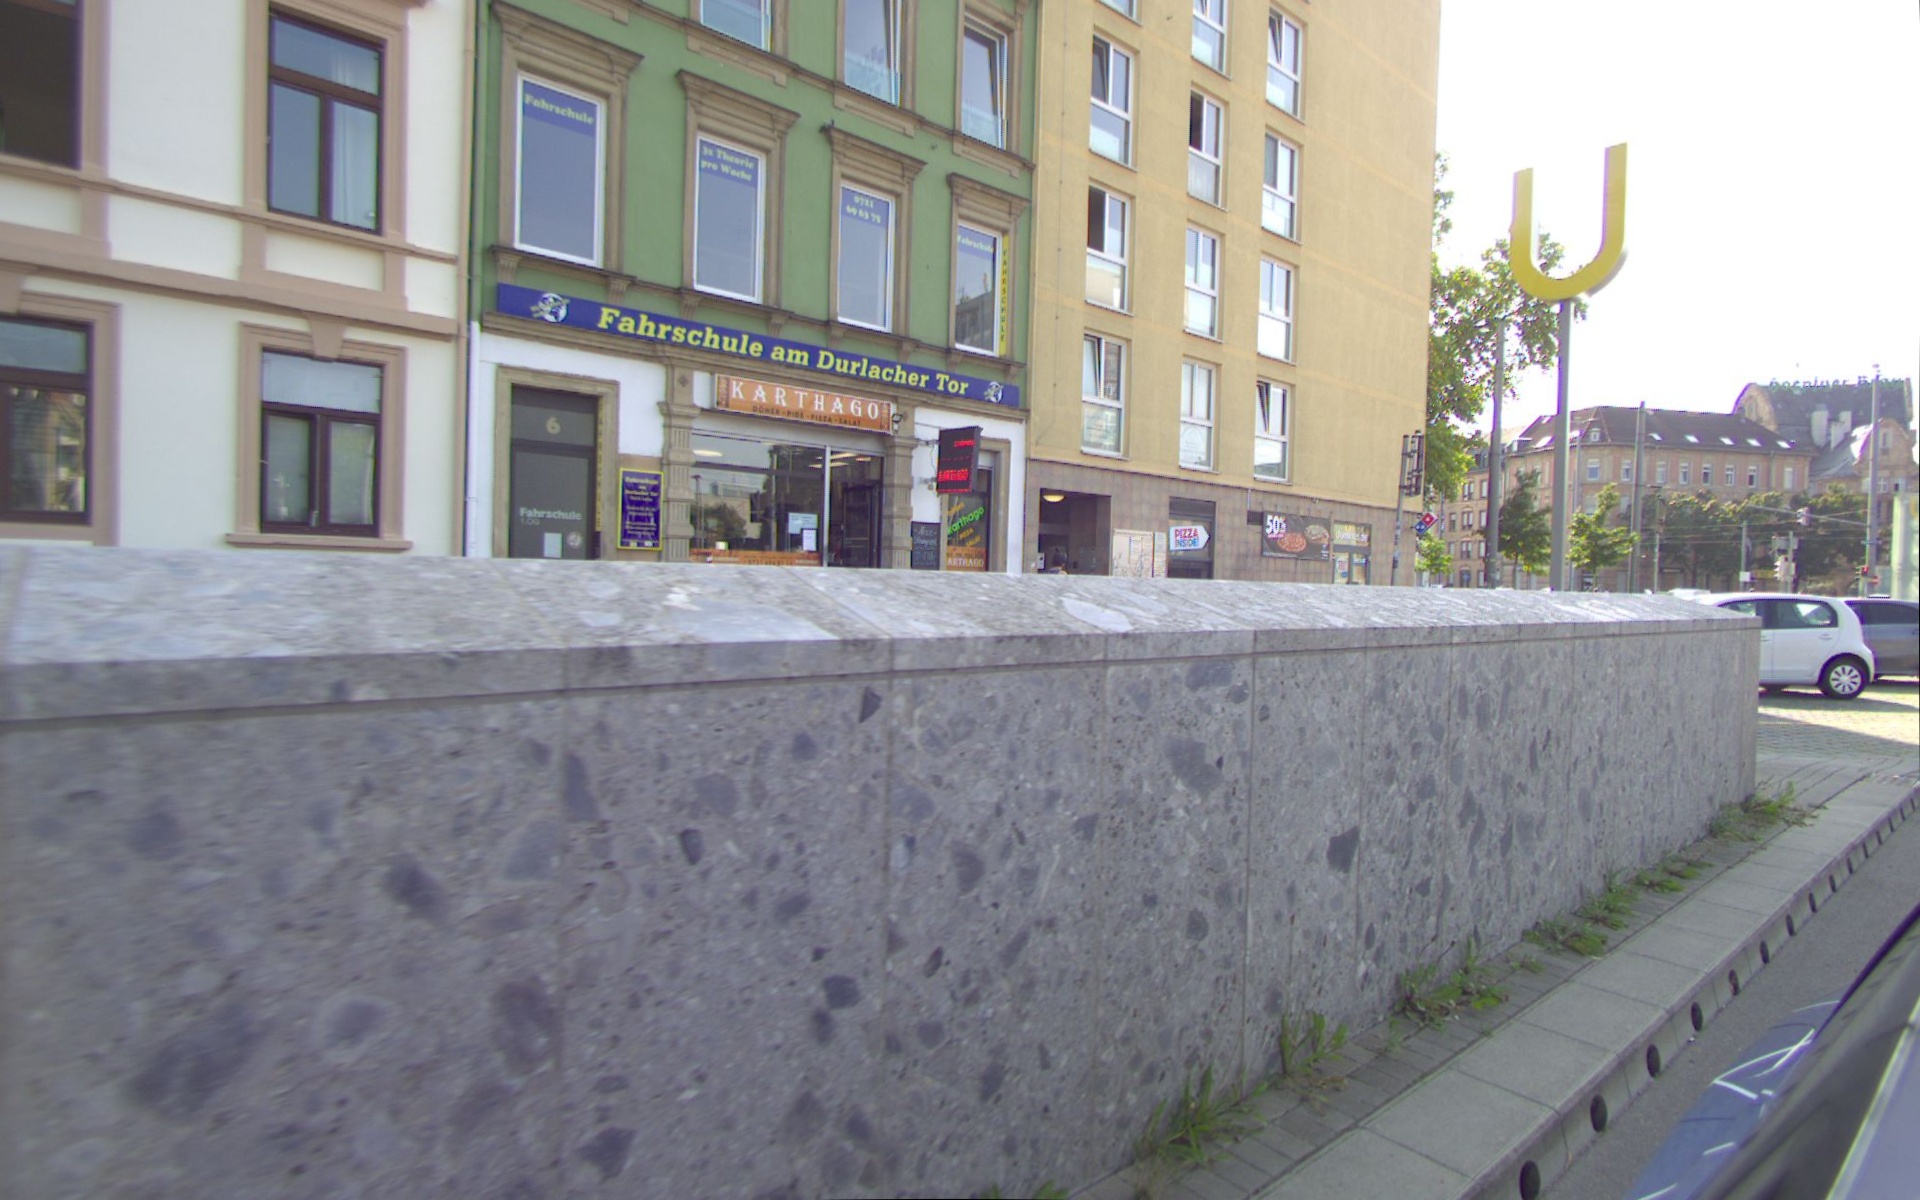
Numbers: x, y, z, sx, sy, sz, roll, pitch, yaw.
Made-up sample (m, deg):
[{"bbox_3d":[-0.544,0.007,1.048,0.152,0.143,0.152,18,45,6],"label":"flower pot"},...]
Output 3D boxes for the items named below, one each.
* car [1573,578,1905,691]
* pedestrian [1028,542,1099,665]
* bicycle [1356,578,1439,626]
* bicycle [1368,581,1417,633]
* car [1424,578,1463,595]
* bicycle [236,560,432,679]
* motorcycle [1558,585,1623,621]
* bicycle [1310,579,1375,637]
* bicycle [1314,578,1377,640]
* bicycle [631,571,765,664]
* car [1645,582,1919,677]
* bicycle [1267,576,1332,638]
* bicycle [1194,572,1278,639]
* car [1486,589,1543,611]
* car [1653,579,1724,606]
[{"bbox_3d":[11.288,0.449,14.897,3.470,1.482,1.619,1,1,9],"label":"car"},{"bbox_3d":[1.439,0.035,14.035,0.724,1.649,0.610,0,2,-40],"label":"pedestrian"},{"bbox_3d":[12.294,0.041,28.508,0.659,1.221,2.021,1,2,-40],"label":"bicycle"},{"bbox_3d":[11.007,0.174,25.724,1.608,1.277,0.469,0,2,-41],"label":"bicycle"},{"bbox_3d":[51.398,-1.427,107.657,1.708,1.601,3.983,2,1,-9],"label":"car"},{"bbox_3d":[-6.481,0.184,10.533,1.689,1.148,0.384,0,2,-40],"label":"bicycle"},{"bbox_3d":[21.538,0.110,34.568,2.253,1.161,0.707,1,1,-24],"label":"motorcycle"},{"bbox_3d":[8.959,0.176,23.664,1.817,1.277,0.603,0,2,-41],"label":"bicycle"},{"bbox_3d":[8.430,0.185,22.063,0.602,1.277,1.967,3,2,41],"label":"bicycle"},{"bbox_3d":[-3.416,0.214,13.310,1.689,1.148,0.384,0,2,-40],"label":"bicycle"},{"bbox_3d":[14.537,0.463,17.210,4.336,1.441,1.844,1,1,9],"label":"car"},{"bbox_3d":[7.444,0.136,22.124,0.602,1.277,1.967,3,2,41],"label":"bicycle"},{"bbox_3d":[5.583,0.105,20.398,1.962,1.277,0.604,0,2,-41],"label":"bicycle"},{"bbox_3d":[40.848,0.008,74.655,1.766,1.459,3.638,1,2,-9],"label":"car"},{"bbox_3d":[56.287,-0.604,78.320,1.757,1.910,4.299,3,1,-12],"label":"car"}]
